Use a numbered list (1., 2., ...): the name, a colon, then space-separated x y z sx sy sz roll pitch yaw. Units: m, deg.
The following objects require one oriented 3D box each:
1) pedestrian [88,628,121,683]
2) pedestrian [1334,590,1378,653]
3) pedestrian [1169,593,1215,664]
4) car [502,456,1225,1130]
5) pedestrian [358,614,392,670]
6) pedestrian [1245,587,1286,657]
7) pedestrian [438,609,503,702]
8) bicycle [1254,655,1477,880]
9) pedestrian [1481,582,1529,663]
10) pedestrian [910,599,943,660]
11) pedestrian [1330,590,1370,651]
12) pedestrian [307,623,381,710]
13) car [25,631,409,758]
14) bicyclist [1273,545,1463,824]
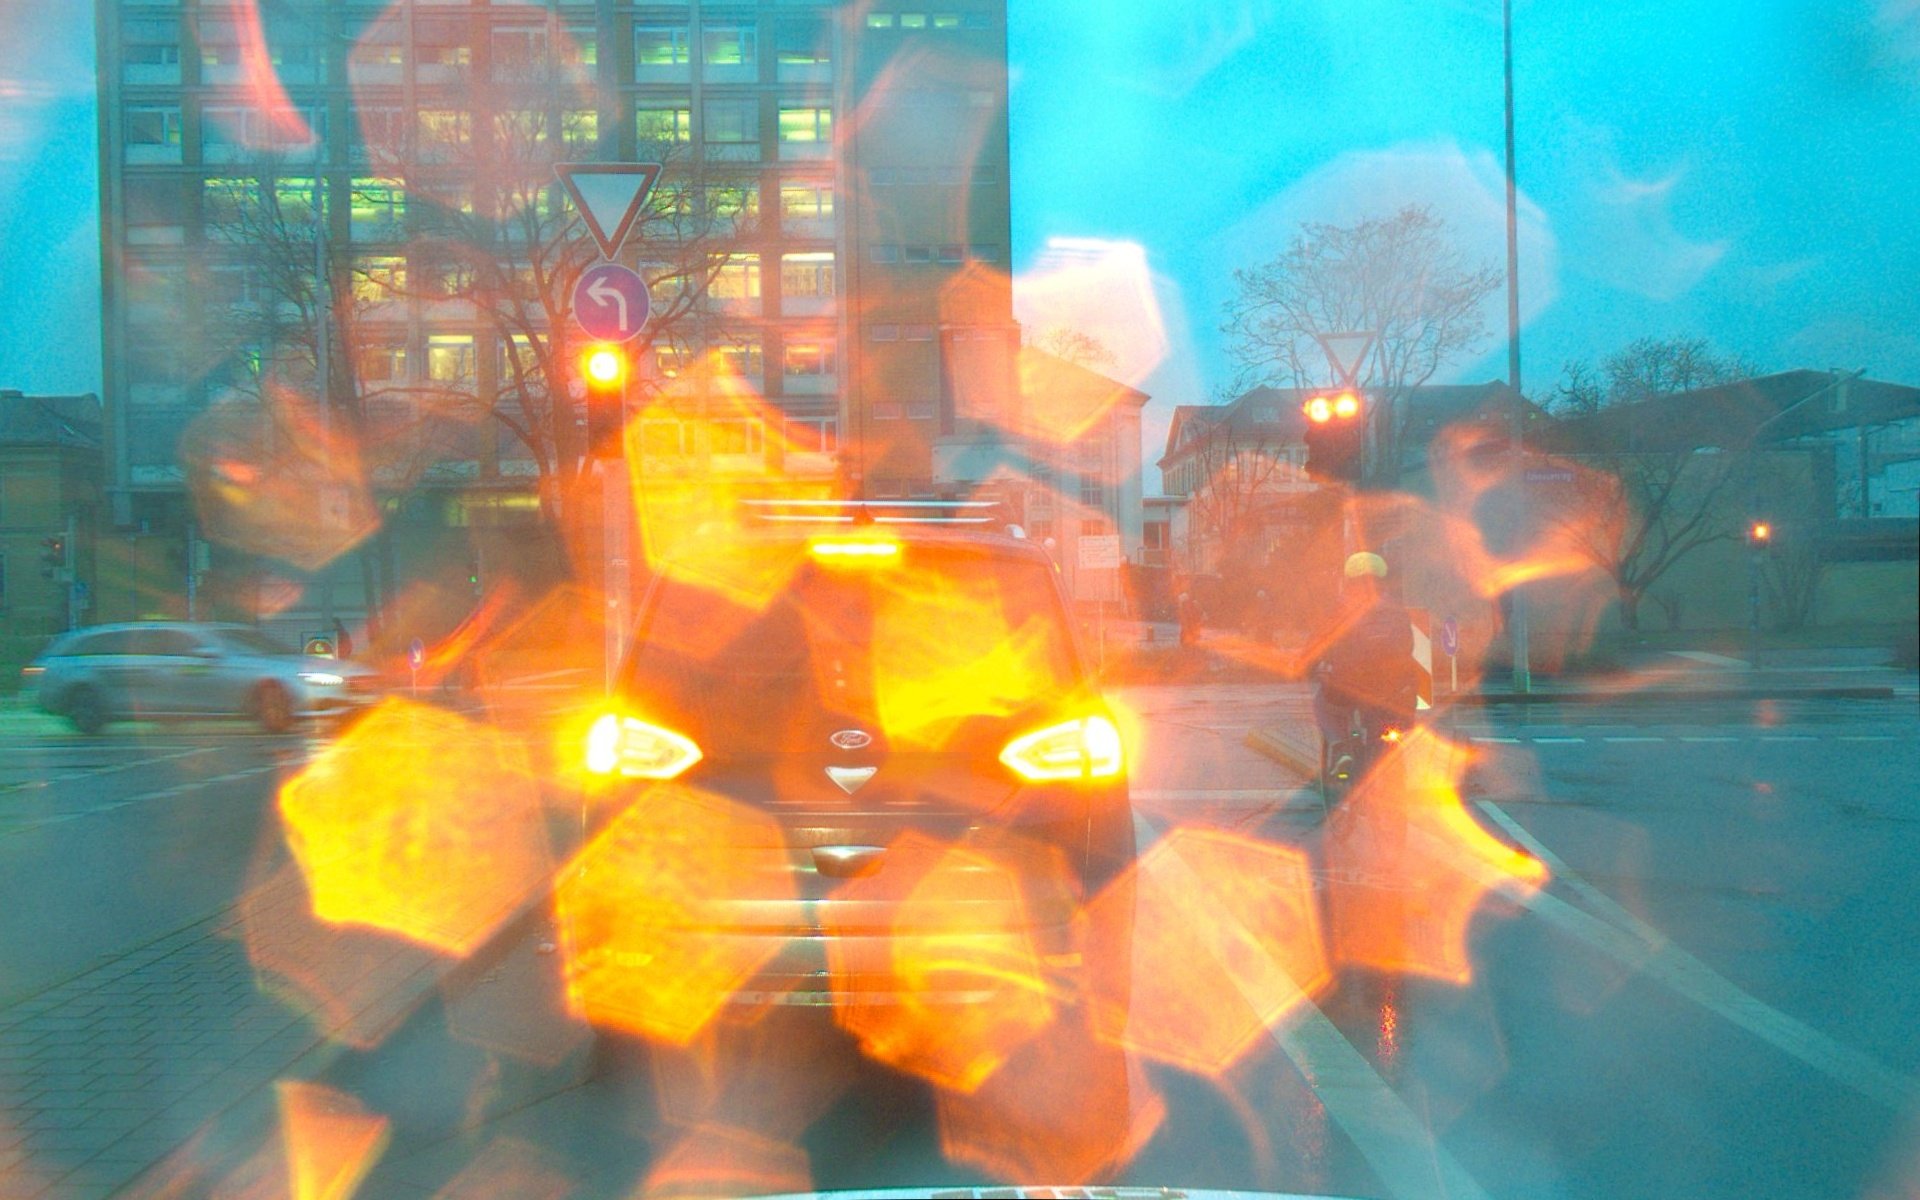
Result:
1. pedestrian: -27.449 1.784 53.051 0.625 1.718 0.637 -2 0 16
2. pedestrian: 10.168 0.542 42.510 0.905 1.559 1.043 -2 0 4
3. pedestrian: 6.008 0.731 42.773 1.111 1.750 0.982 -2 0 10
4. car: -0.288 0.542 6.539 1.953 1.821 3.999 1 0 -1
5. pedestrian: -17.563 1.258 49.643 0.743 1.656 0.558 -2 0 14
6. pedestrian: 8.150 0.576 44.184 0.975 1.831 0.920 -2 0 8
7. pedestrian: -10.895 1.231 36.825 0.909 2.013 0.959 -2 0 25
8. bicycle: 2.269 0.901 9.527 0.767 1.094 1.956 1 0 -1
9. pedestrian: 14.869 0.598 45.160 0.867 2.150 0.894 -2 0 -10
10. pedestrian: -0.938 0.824 46.656 0.746 1.656 0.719 -2 0 -13
11. pedestrian: 10.302 0.529 43.723 0.874 1.559 0.886 -2 0 5
12. pedestrian: -14.036 1.503 37.710 0.981 1.874 1.138 -2 3 25
13. car: -10.234 1.296 22.883 4.584 1.579 1.940 -2 -1 13
14. bicyclist: 2.284 0.455 9.395 0.767 1.478 1.133 1 0 -1
